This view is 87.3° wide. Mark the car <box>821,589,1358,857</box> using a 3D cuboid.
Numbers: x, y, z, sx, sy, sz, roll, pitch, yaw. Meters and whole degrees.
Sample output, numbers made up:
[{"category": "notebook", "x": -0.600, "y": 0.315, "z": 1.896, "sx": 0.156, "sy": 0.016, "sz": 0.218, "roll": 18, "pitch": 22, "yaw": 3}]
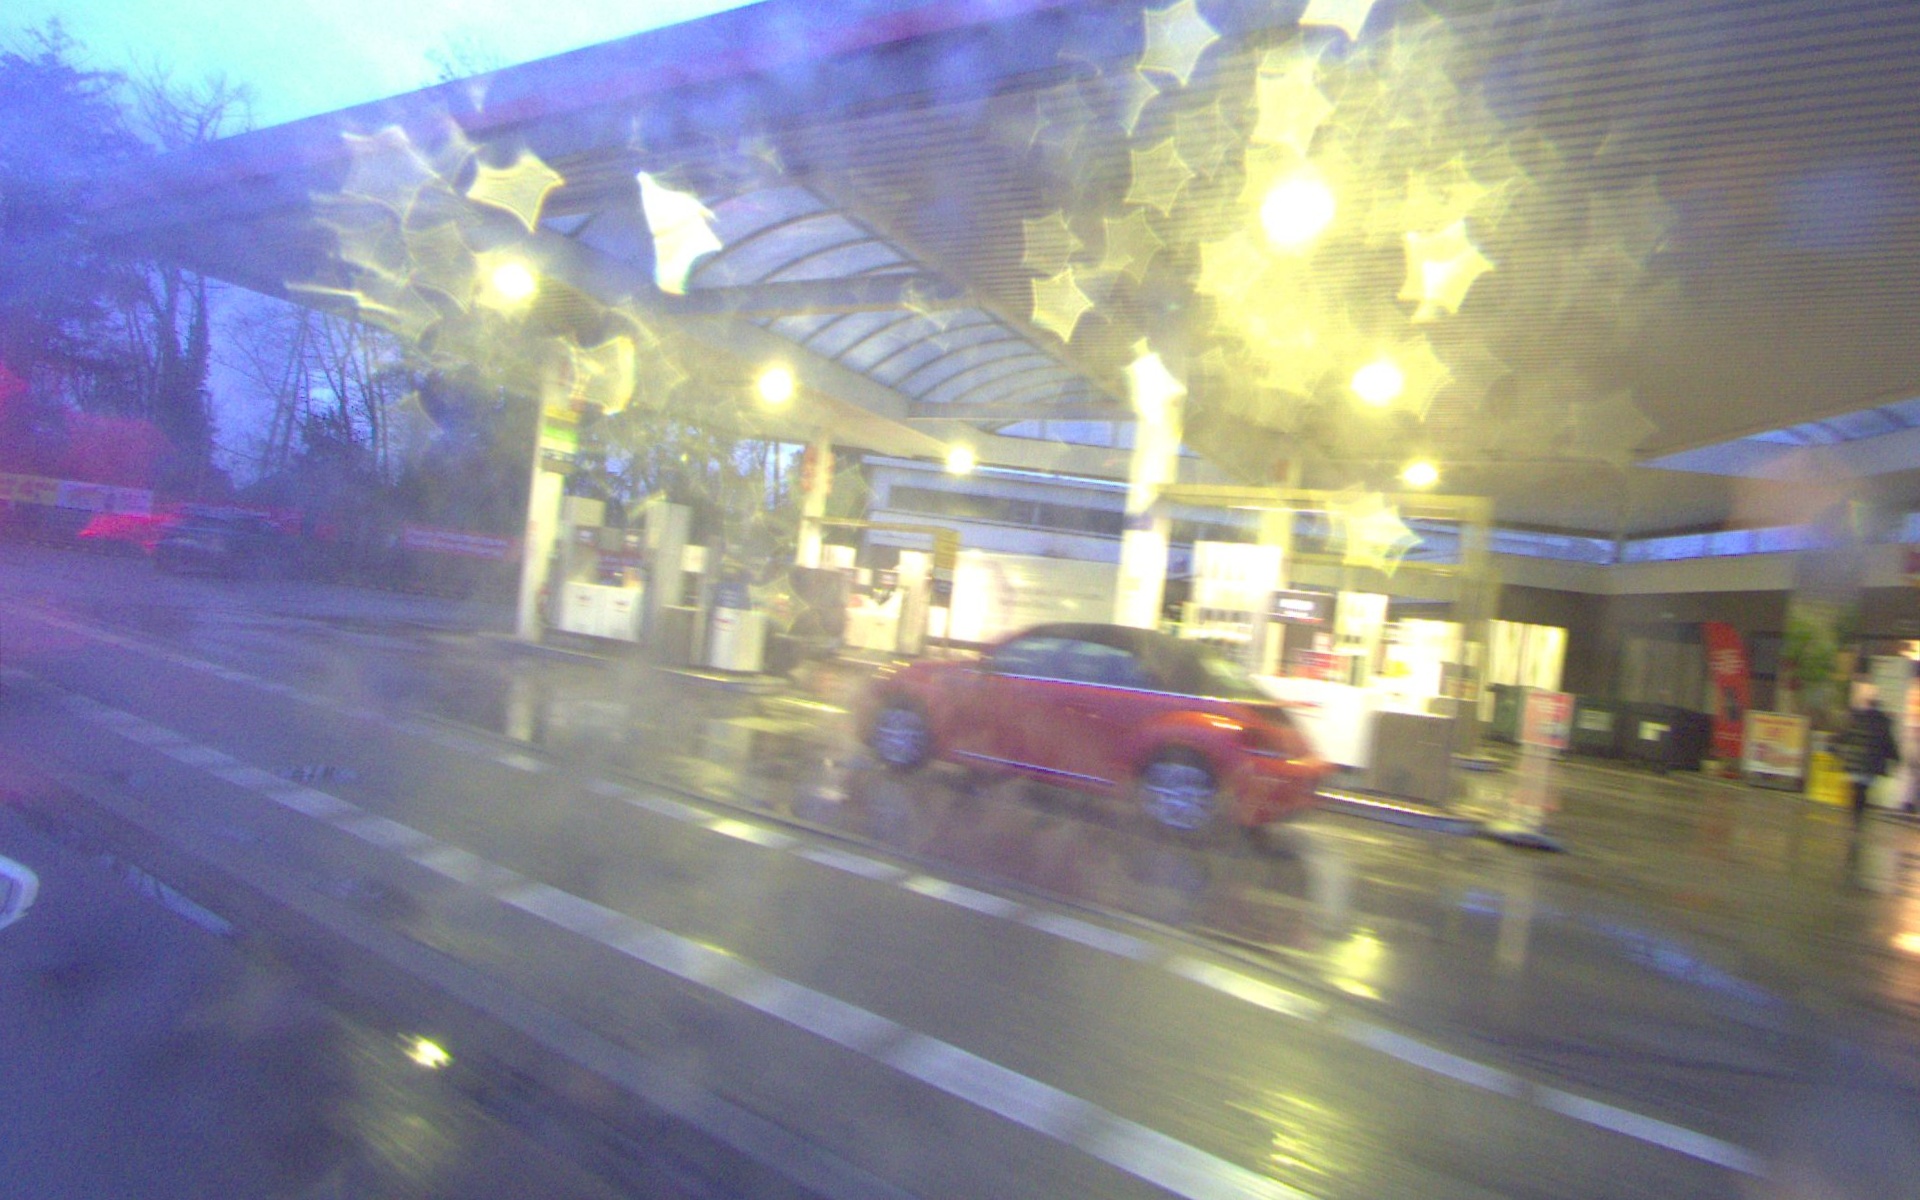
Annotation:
[{"category": "car", "x": 0.980, "y": 0.860, "z": 8.484, "sx": 4.099, "sy": 1.414, "sz": 1.574, "roll": 7, "pitch": 1, "yaw": 31}]

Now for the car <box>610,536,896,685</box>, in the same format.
[{"category": "car", "x": -3.431, "y": 0.130, "z": 16.468, "sx": 4.227, "sy": 1.883, "sz": 1.995, "roll": 7, "pitch": 1, "yaw": 31}]

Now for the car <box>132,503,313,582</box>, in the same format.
[{"category": "car", "x": -19.060, "y": -1.410, "z": 26.295, "sx": 1.987, "sy": 1.628, "sz": 4.473, "roll": 7, "pitch": 0, "yaw": -12}]
